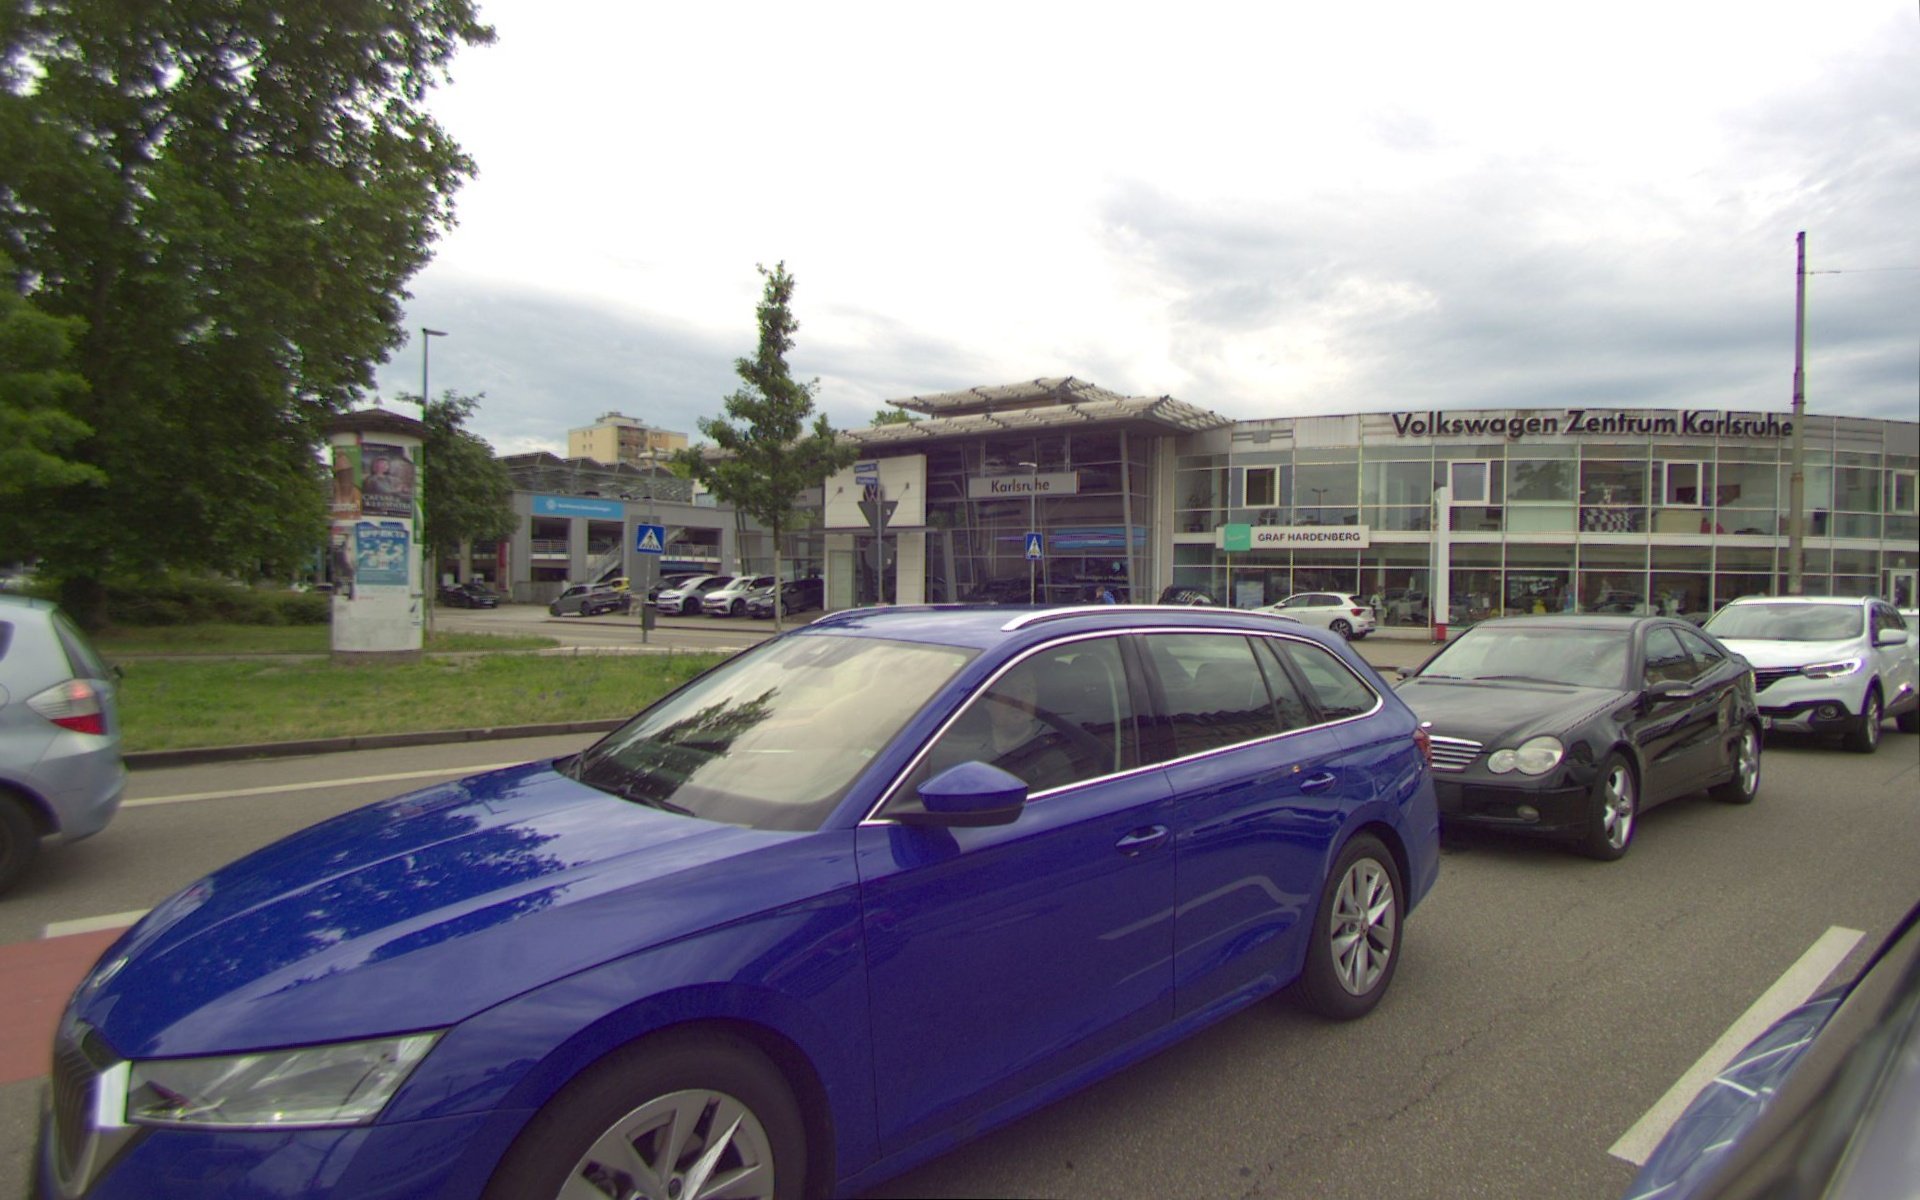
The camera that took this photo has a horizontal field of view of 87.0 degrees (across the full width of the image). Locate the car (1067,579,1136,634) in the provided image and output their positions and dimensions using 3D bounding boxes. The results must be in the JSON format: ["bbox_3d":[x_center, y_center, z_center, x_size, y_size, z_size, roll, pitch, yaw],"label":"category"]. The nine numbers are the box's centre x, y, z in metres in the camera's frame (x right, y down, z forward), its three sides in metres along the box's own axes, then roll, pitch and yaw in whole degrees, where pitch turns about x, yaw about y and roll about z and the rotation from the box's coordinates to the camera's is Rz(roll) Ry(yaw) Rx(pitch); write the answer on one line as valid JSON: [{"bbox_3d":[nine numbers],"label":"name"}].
[{"bbox_3d":[4.709,0.147,33.184,1.927,1.544,4.216,1,3,12],"label":"car"}]

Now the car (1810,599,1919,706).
[{"bbox_3d":[14.709,0.736,15.421,3.899,1.454,1.909,0,1,-38],"label":"car"}]

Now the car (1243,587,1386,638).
[{"bbox_3d":[11.084,0.349,31.724,3.889,1.459,1.708,2,1,40],"label":"car"}]

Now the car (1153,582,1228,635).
[{"bbox_3d":[7.349,0.207,32.603,1.760,1.580,4.029,1,1,5],"label":"car"}]

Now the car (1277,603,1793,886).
[{"bbox_3d":[4.261,0.734,7.191,4.343,1.388,1.769,0,0,-40],"label":"car"}]

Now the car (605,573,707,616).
[{"bbox_3d":[-14.243,-0.323,47.591,1.946,1.529,4.179,2,7,37],"label":"car"}]

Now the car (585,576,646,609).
[{"bbox_3d":[-17.539,-0.415,51.527,3.106,1.530,1.422,2,5,38],"label":"car"}]

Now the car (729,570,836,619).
[{"bbox_3d":[-7.428,-0.288,42.700,1.946,1.472,4.180,2,9,37],"label":"car"}]

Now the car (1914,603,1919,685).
[{"bbox_3d":[18.988,0.801,18.318,3.899,1.454,1.909,0,1,-38],"label":"car"}]

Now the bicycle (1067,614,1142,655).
[{"bbox_3d":[3.563,0.835,25.022,1.779,0.923,0.555,2,1,36],"label":"bicycle"}]

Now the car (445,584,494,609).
[{"bbox_3d":[-28.860,-0.244,59.483,1.928,1.358,3.678,-1,2,-37],"label":"car"}]

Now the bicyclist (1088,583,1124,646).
[{"bbox_3d":[3.604,0.345,25.012,0.691,1.515,0.548,1,1,36],"label":"bicyclist"}]

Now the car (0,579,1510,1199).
[{"bbox_3d":[-0.014,0.688,3.413,4.674,1.454,1.768,0,0,-41],"label":"car"}]

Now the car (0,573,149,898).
[{"bbox_3d":[-6.036,0.632,4.374,3.867,1.502,1.707,0,0,-43],"label":"car"}]

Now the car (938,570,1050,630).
[{"bbox_3d":[1.298,-0.068,35.827,1.942,1.662,4.627,1,5,31],"label":"car"}]

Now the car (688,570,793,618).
[{"bbox_3d":[-9.596,-0.319,44.506,1.946,1.615,4.179,2,8,37],"label":"car"}]

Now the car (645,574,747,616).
[{"bbox_3d":[-11.962,-0.271,46.109,1.946,1.483,4.178,2,6,37],"label":"car"}]

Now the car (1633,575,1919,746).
[{"bbox_3d":[9.497,0.536,11.418,4.069,1.578,1.983,0,1,-38],"label":"car"}]

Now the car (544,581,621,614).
[{"bbox_3d":[-18.428,-0.156,49.354,4.128,1.531,1.633,2,1,38],"label":"car"}]
